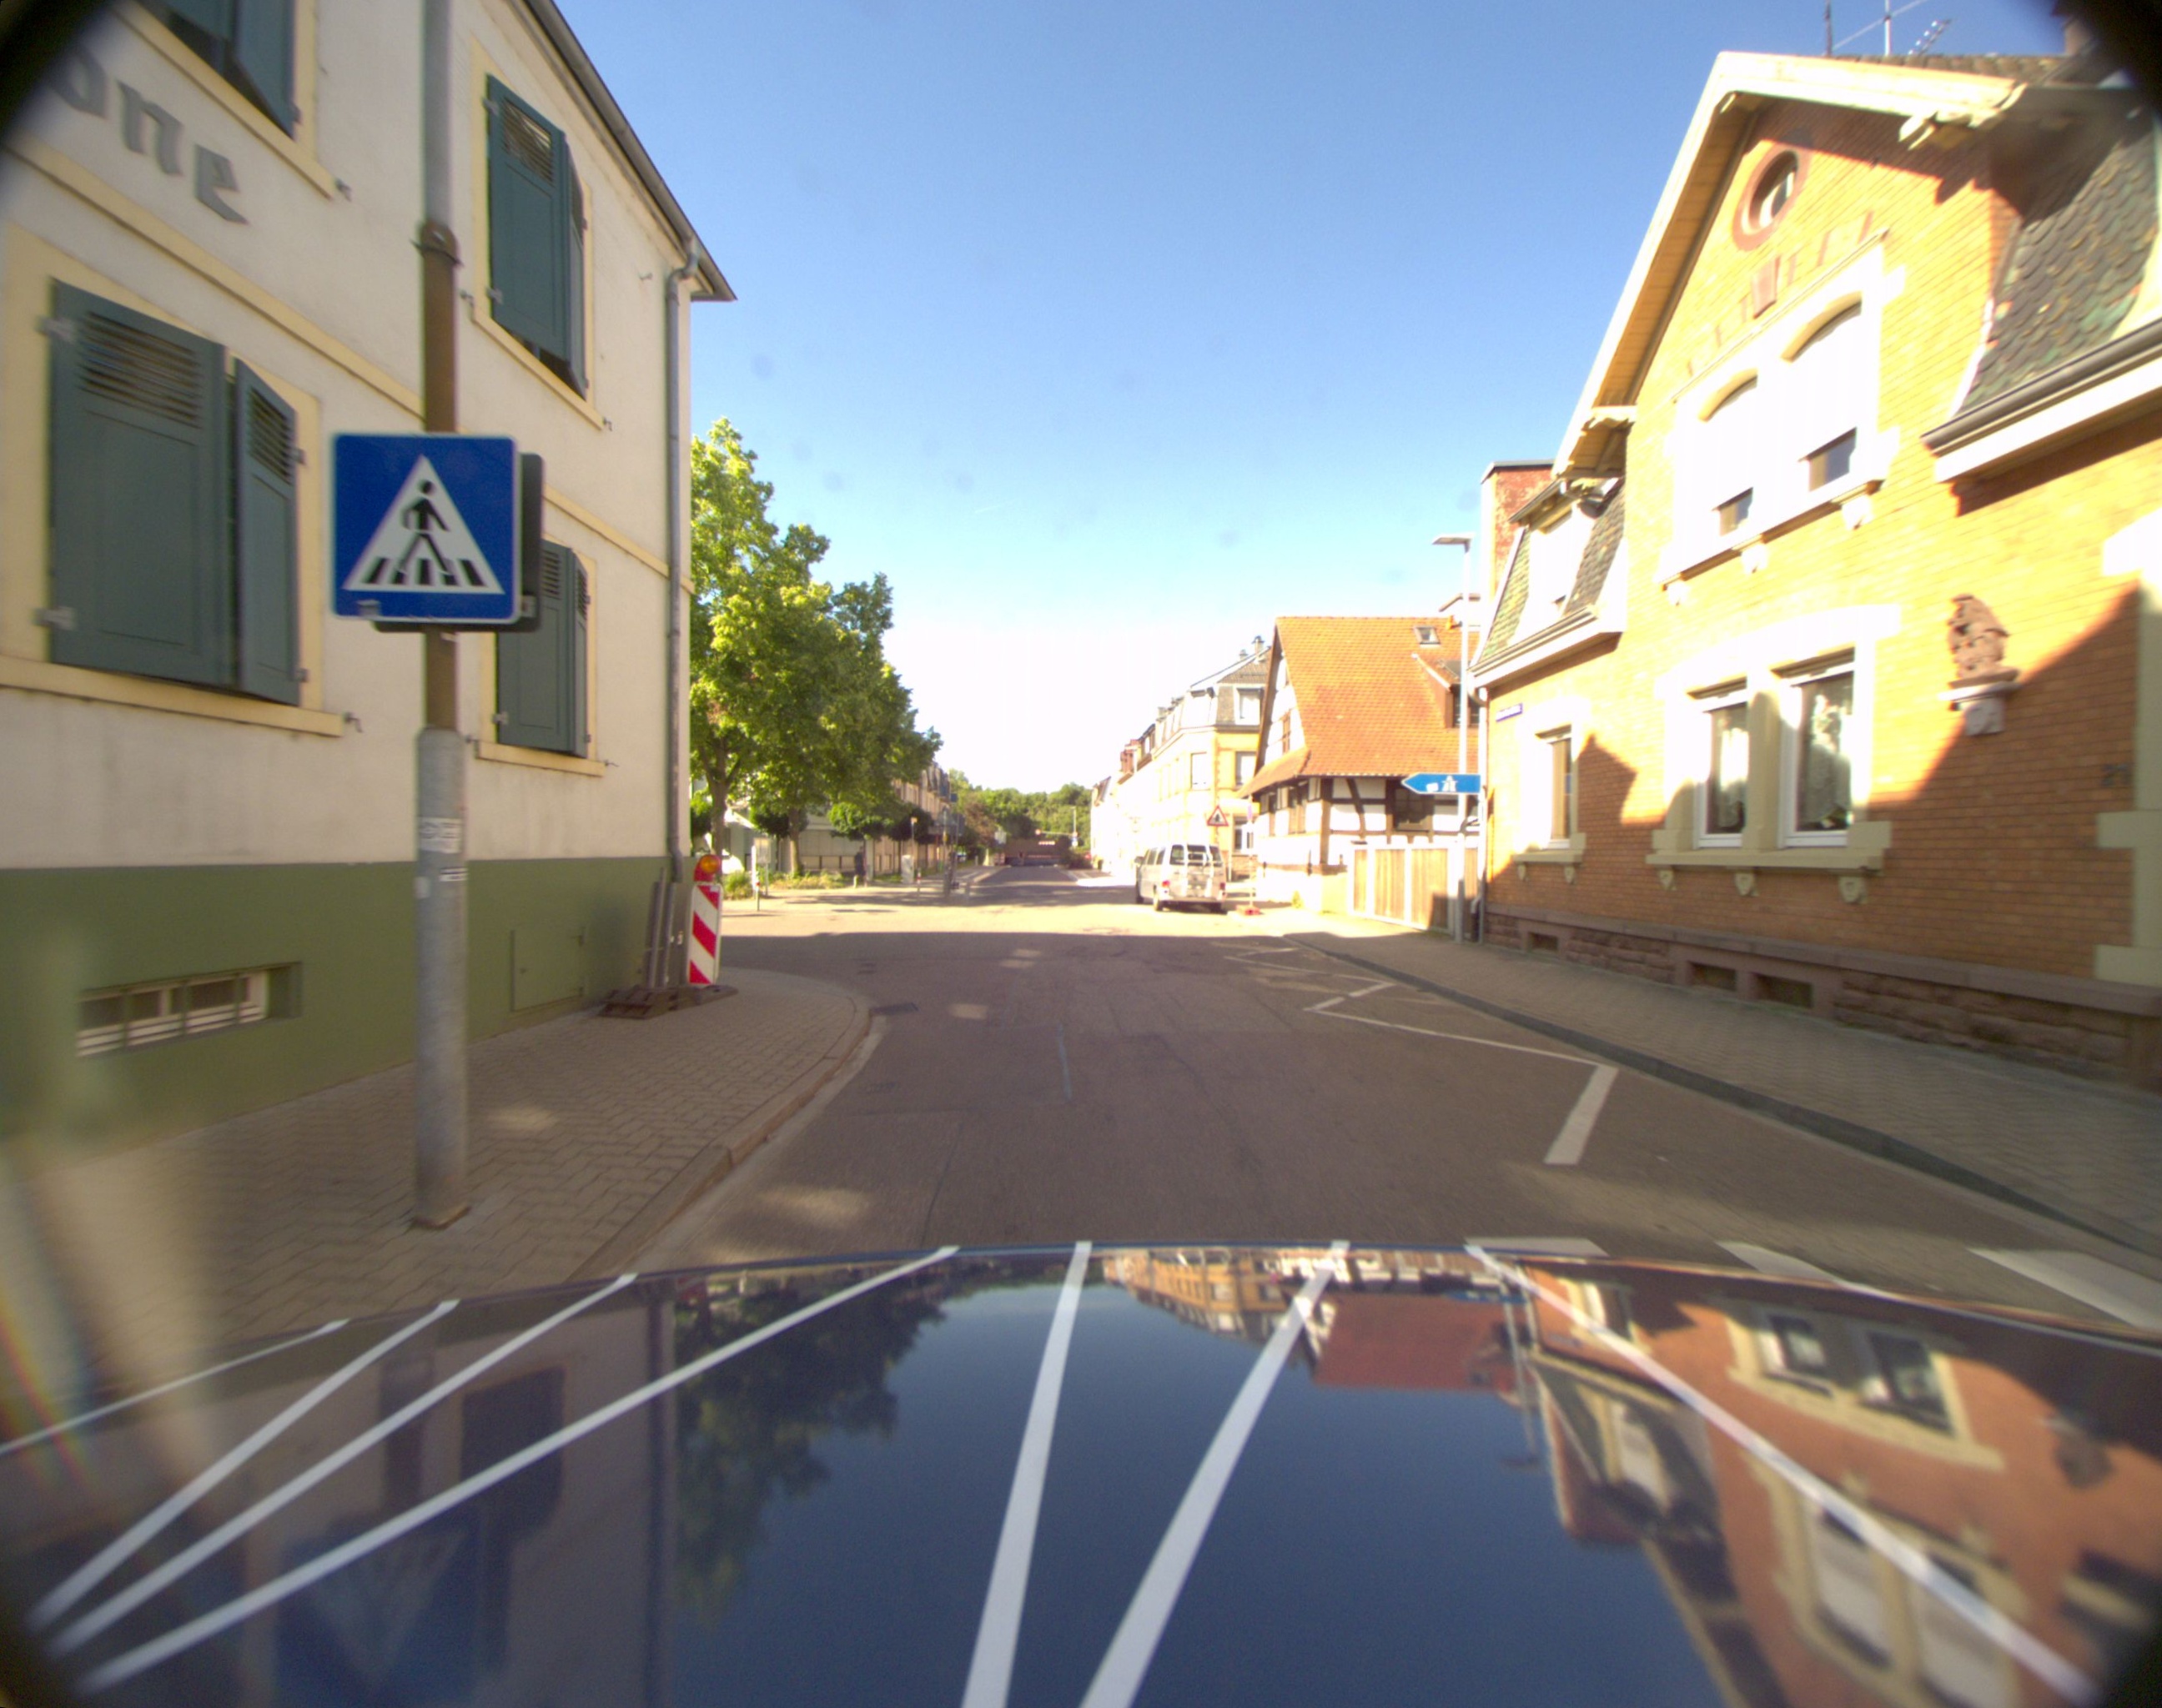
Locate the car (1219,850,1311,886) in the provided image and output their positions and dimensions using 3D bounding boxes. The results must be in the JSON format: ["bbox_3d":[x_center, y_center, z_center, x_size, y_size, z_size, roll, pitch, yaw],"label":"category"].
[{"bbox_3d":[8.720,0.636,36.275,4.012,1.536,1.715,1,3,5],"label":"car"}]

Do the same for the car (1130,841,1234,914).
[{"bbox_3d":[2.749,0.578,21.951,1.881,1.870,4.832,1,1,-6],"label":"car"}]

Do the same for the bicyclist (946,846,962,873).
[{"bbox_3d":[-7.377,0.331,44.190,0.669,1.530,0.914,3,1,0],"label":"bicyclist"}]

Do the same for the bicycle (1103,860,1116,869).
[{"bbox_3d":[2.135,0.786,56.755,0.383,0.606,1.344,-2,1,27],"label":"bicycle"}]

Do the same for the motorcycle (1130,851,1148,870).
[{"bbox_3d":[4.105,0.440,54.104,0.848,1.245,2.256,-3,1,-7],"label":"motorcycle"}]

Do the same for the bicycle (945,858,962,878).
[{"bbox_3d":[-7.404,0.813,44.154,0.669,1.058,1.816,3,1,0],"label":"bicycle"}]

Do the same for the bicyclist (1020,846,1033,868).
[{"bbox_3d":[-5.865,0.316,81.608,1.257,2.295,1.242,-3,1,-3],"label":"bicyclist"}]

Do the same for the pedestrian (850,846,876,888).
[{"bbox_3d":[-9.088,0.523,31.687,0.659,1.707,0.828,0,1,19],"label":"pedestrian"}]

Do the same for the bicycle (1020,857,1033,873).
[{"bbox_3d":[-5.828,1.126,81.494,1.257,1.543,3.998,-3,1,-3],"label":"bicycle"}]
